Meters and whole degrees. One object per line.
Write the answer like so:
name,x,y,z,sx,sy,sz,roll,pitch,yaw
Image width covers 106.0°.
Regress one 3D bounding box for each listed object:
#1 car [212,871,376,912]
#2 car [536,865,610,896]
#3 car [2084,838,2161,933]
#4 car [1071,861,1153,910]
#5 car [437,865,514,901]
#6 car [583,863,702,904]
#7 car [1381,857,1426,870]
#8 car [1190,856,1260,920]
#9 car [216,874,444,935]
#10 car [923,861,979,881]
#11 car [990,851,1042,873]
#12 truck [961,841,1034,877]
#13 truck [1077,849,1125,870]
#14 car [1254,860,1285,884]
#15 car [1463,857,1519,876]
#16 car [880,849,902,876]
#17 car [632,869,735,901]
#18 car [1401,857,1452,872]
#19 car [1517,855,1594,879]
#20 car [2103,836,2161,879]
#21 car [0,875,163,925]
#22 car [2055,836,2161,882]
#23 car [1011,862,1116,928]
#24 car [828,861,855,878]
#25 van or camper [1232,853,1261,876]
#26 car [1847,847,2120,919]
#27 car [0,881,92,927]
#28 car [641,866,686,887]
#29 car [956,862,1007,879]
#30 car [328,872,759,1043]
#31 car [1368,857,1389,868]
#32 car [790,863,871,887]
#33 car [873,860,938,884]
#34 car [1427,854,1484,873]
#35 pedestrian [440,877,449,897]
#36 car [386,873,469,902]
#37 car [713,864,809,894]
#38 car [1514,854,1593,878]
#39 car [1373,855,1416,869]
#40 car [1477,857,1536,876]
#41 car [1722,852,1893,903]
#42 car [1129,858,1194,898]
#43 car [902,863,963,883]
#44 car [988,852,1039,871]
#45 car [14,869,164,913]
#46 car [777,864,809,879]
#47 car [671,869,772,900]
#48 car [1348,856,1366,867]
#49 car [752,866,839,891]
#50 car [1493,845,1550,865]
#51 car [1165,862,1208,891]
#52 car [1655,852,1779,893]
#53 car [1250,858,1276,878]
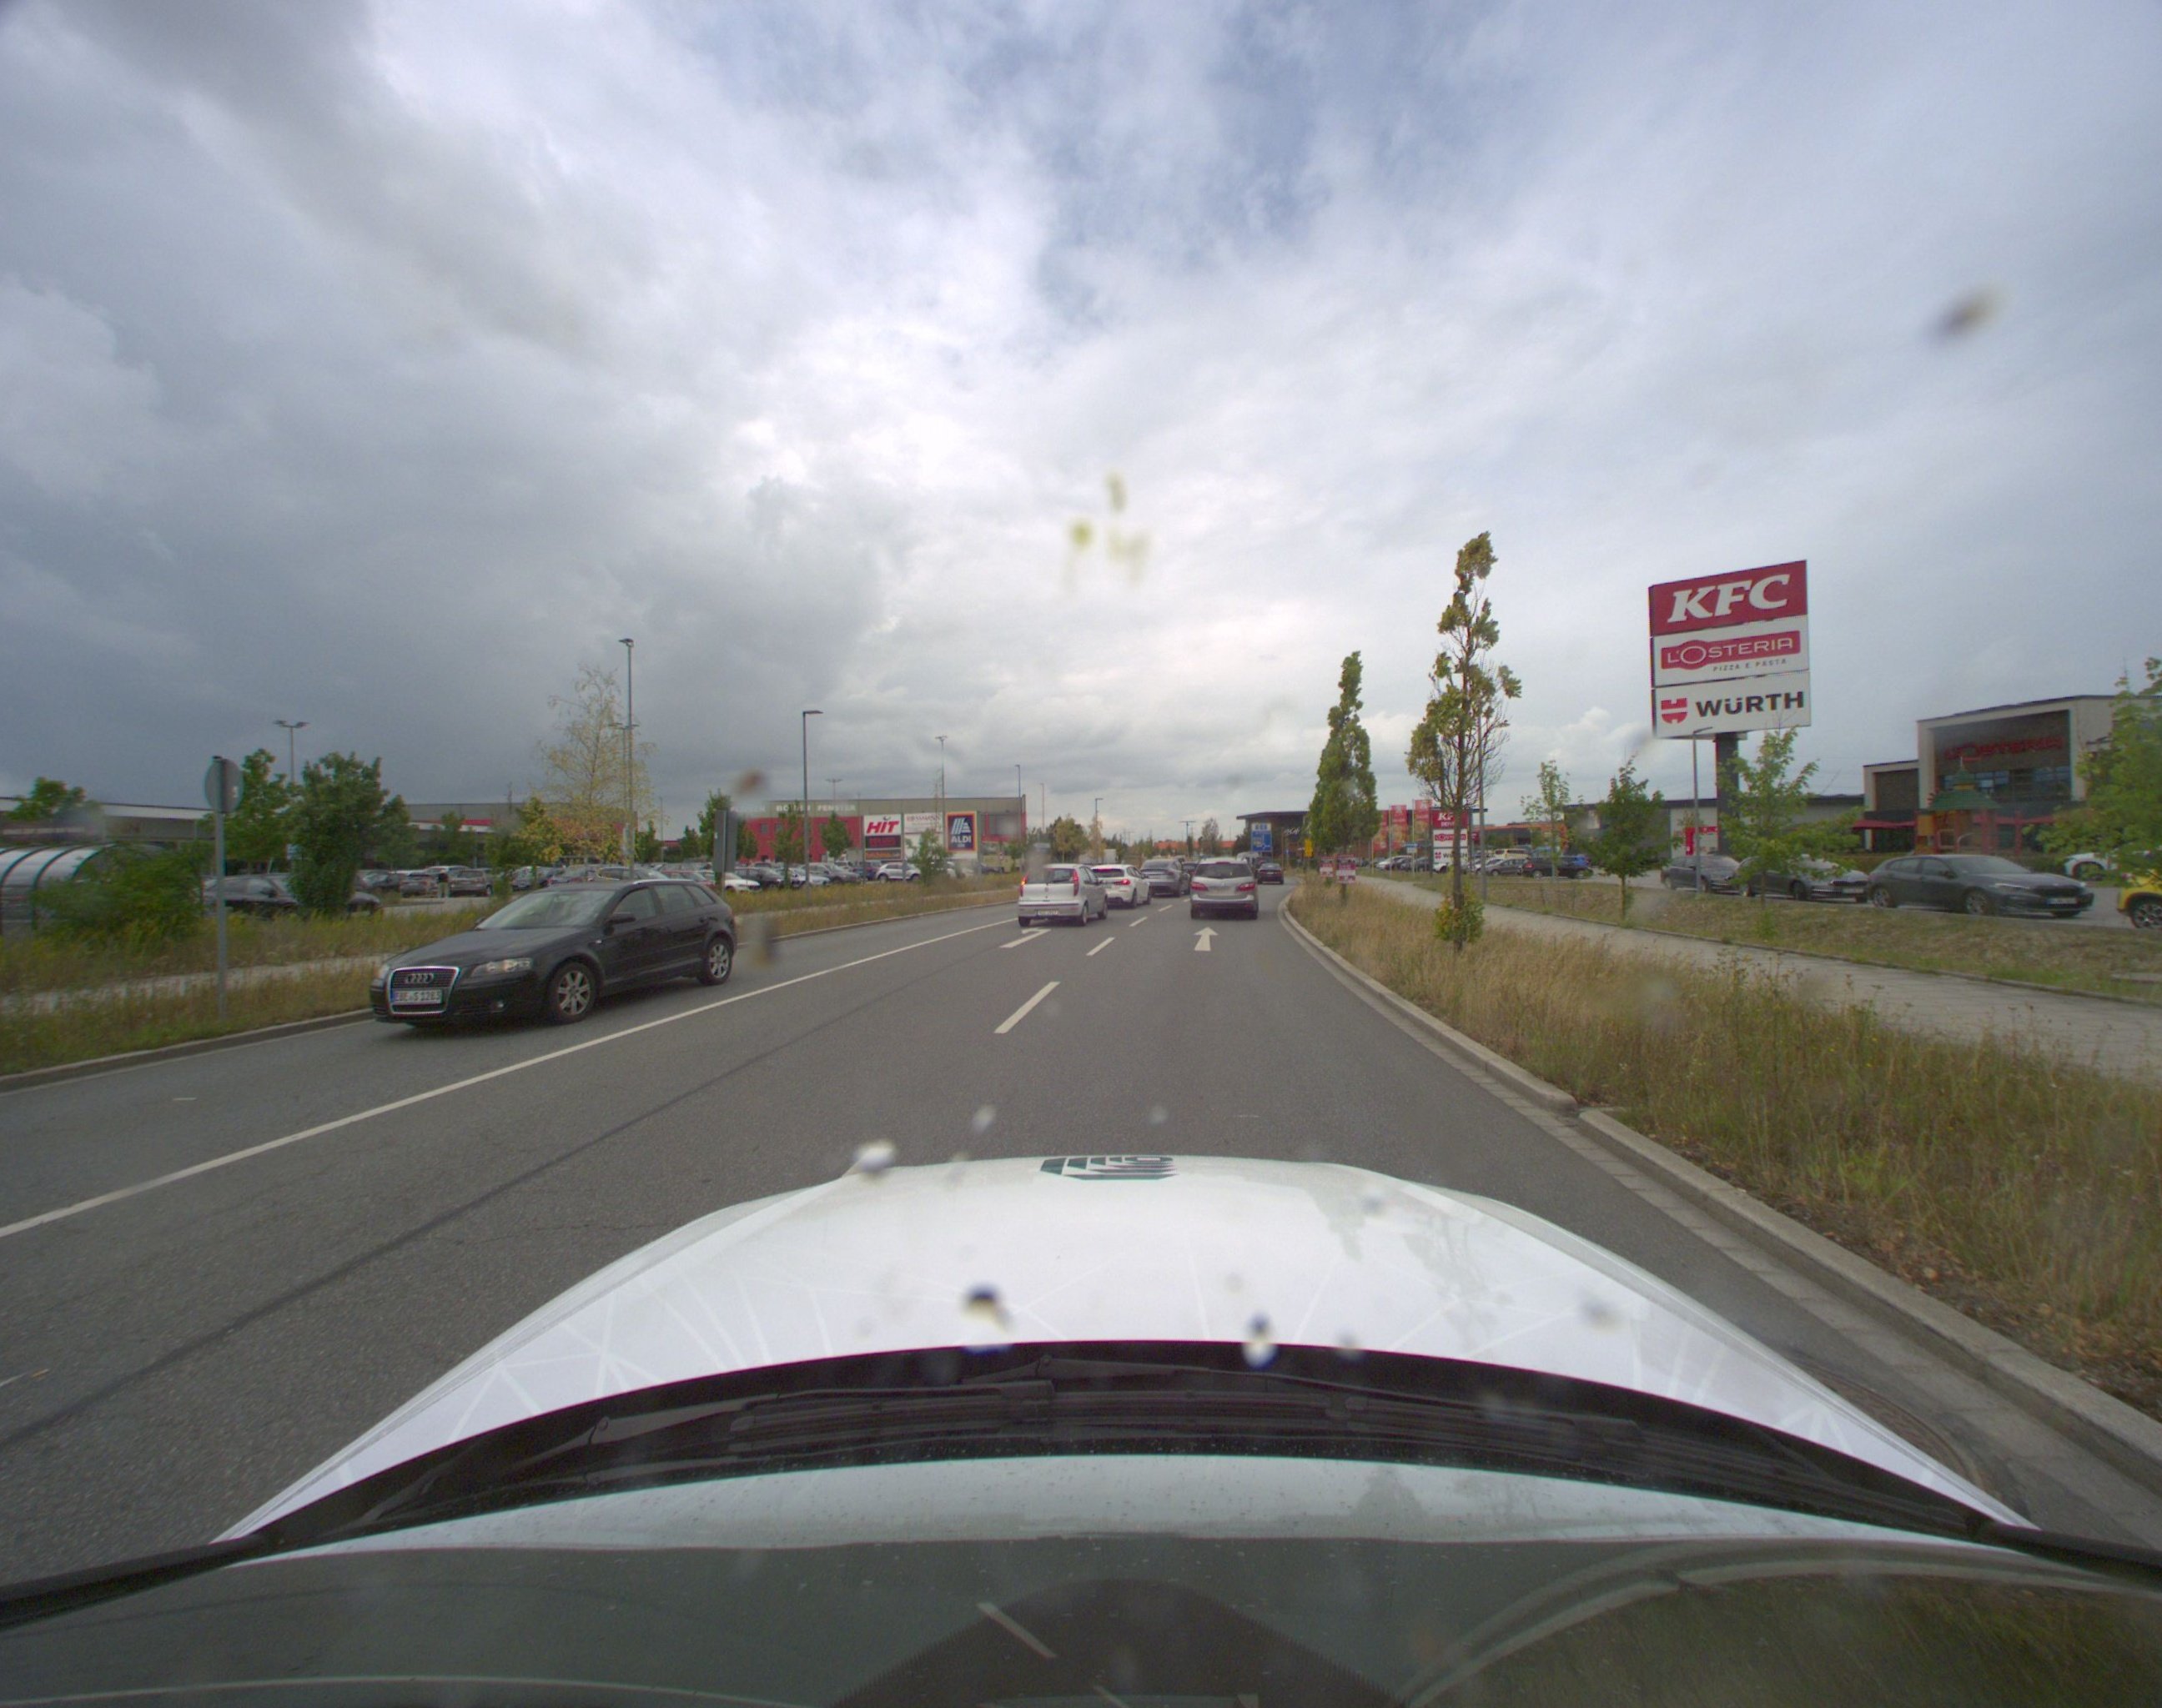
car,-33.185,1.546,34.614,1.987,1.519,5.104,-1,-1,0
car,-29.176,1.505,46.947,1.991,1.607,3.992,-1,0,-5
car,20.040,0.545,13.404,1.755,1.686,4.415,-1,0,3
car,1.138,1.011,27.347,1.866,1.469,4.209,-1,-1,15
car,-34.441,1.596,46.487,1.834,1.922,4.429,-1,0,-12
car,-19.430,1.294,36.158,4.271,1.655,2.088,-1,0,13
car,37.366,1.116,94.362,4.458,1.436,2.071,-1,0,-4
car,3.942,0.873,22.383,1.719,1.600,3.817,0,0,10
car,-17.412,1.157,18.945,4.050,1.260,2.020,-1,0,15
car,-10.822,1.386,68.035,4.226,1.559,1.992,-1,0,5
car,-8.206,1.014,103.356,6.395,2.598,2.240,-1,-1,-4
truck,-8.546,0.499,84.286,2.822,3.541,8.482,-1,-1,33
truck,3.923,1.071,161.459,9.263,3.907,3.147,-1,-1,4
car,12.340,1.152,53.256,1.832,1.418,4.240,-1,0,14
car,34.979,1.057,69.574,3.837,1.481,1.907,-3,-1,10
car,-20.178,0.882,86.668,2.059,2.690,5.127,-1,0,-10
car,-18.817,1.464,38.645,4.053,1.391,2.009,-1,0,16
car,36.677,1.097,86.456,4.503,1.469,2.032,-1,0,0
car,30.722,0.830,52.872,3.956,1.494,1.990,-1,-1,16
car,43.292,0.107,31.326,2.132,1.678,4.512,-1,0,-17
car,-35.227,1.554,28.374,1.992,1.519,4.184,-1,-1,-7
car,40.676,0.173,30.644,1.996,1.697,4.769,-1,0,-14
car,-0.320,0.962,20.472,1.691,1.438,4.046,-1,0,12
car,-25.303,1.631,86.172,1.992,1.729,3.990,-1,0,-7
van or camper,18.617,1.131,91.710,2.295,2.506,5.206,0,-1,1
car,21.452,0.677,19.725,1.981,1.496,4.620,-1,-1,10
car,-43.629,2.037,33.332,1.833,1.684,3.986,-1,0,-10
car,-34.276,1.846,66.939,1.992,1.607,3.990,-1,0,-7
car,-9.199,1.528,75.476,4.207,1.435,2.003,-1,0,9
car,-5.716,0.987,9.444,1.707,1.445,4.245,-2,-1,9
car,39.422,1.150,107.988,1.793,1.313,3.874,-1,0,32
car,-15.682,1.295,51.061,4.324,1.391,2.175,-1,0,16
car,-12.982,1.308,60.342,4.215,1.723,2.034,-1,-1,10
car,36.459,0.949,79.402,4.540,1.645,2.091,-3,-1,4
pedestrian,-34.260,1.784,43.821,0.386,1.049,0.270,-1,-1,37
car,-37.122,1.857,46.381,1.831,1.508,3.990,-1,0,-7
car,-17.376,1.354,44.301,4.332,1.505,2.249,-1,0,15
car,31.990,0.818,55.231,4.232,1.520,1.973,-1,-1,14
car,37.282,0.952,96.884,4.341,1.639,1.933,-1,0,-6
car,33.850,0.987,64.875,3.733,1.494,1.896,-1,-1,11
car,22.822,0.678,25.894,1.851,1.437,4.895,-1,0,12
car,3.562,0.980,35.353,1.978,1.561,4.632,-1,0,16
car,-11.566,1.449,63.621,4.210,1.513,2.054,-1,-1,15
car,-8.126,0.908,98.333,6.059,2.307,2.206,-1,-1,-5
car,-41.533,1.506,34.259,1.833,1.684,3.986,-1,0,-10
car,-30.106,1.812,85.244,1.989,1.519,4.224,-1,0,-3
car,-18.085,1.536,41.028,4.288,1.456,2.018,-1,0,14
car,44.293,1.232,130.571,1.974,1.717,4.025,-1,-1,30
car,-16.478,1.424,47.128,4.284,1.340,2.033,-1,0,11
car,53.998,0.123,99.824,5.658,2.351,2.534,-1,0,-2
car,5.679,1.191,43.400,1.756,1.438,4.247,-1,-1,14
car,24.299,0.659,31.376,1.948,1.460,4.850,-1,0,14
car,18.065,1.385,80.920,2.048,1.826,4.794,-1,-1,6
